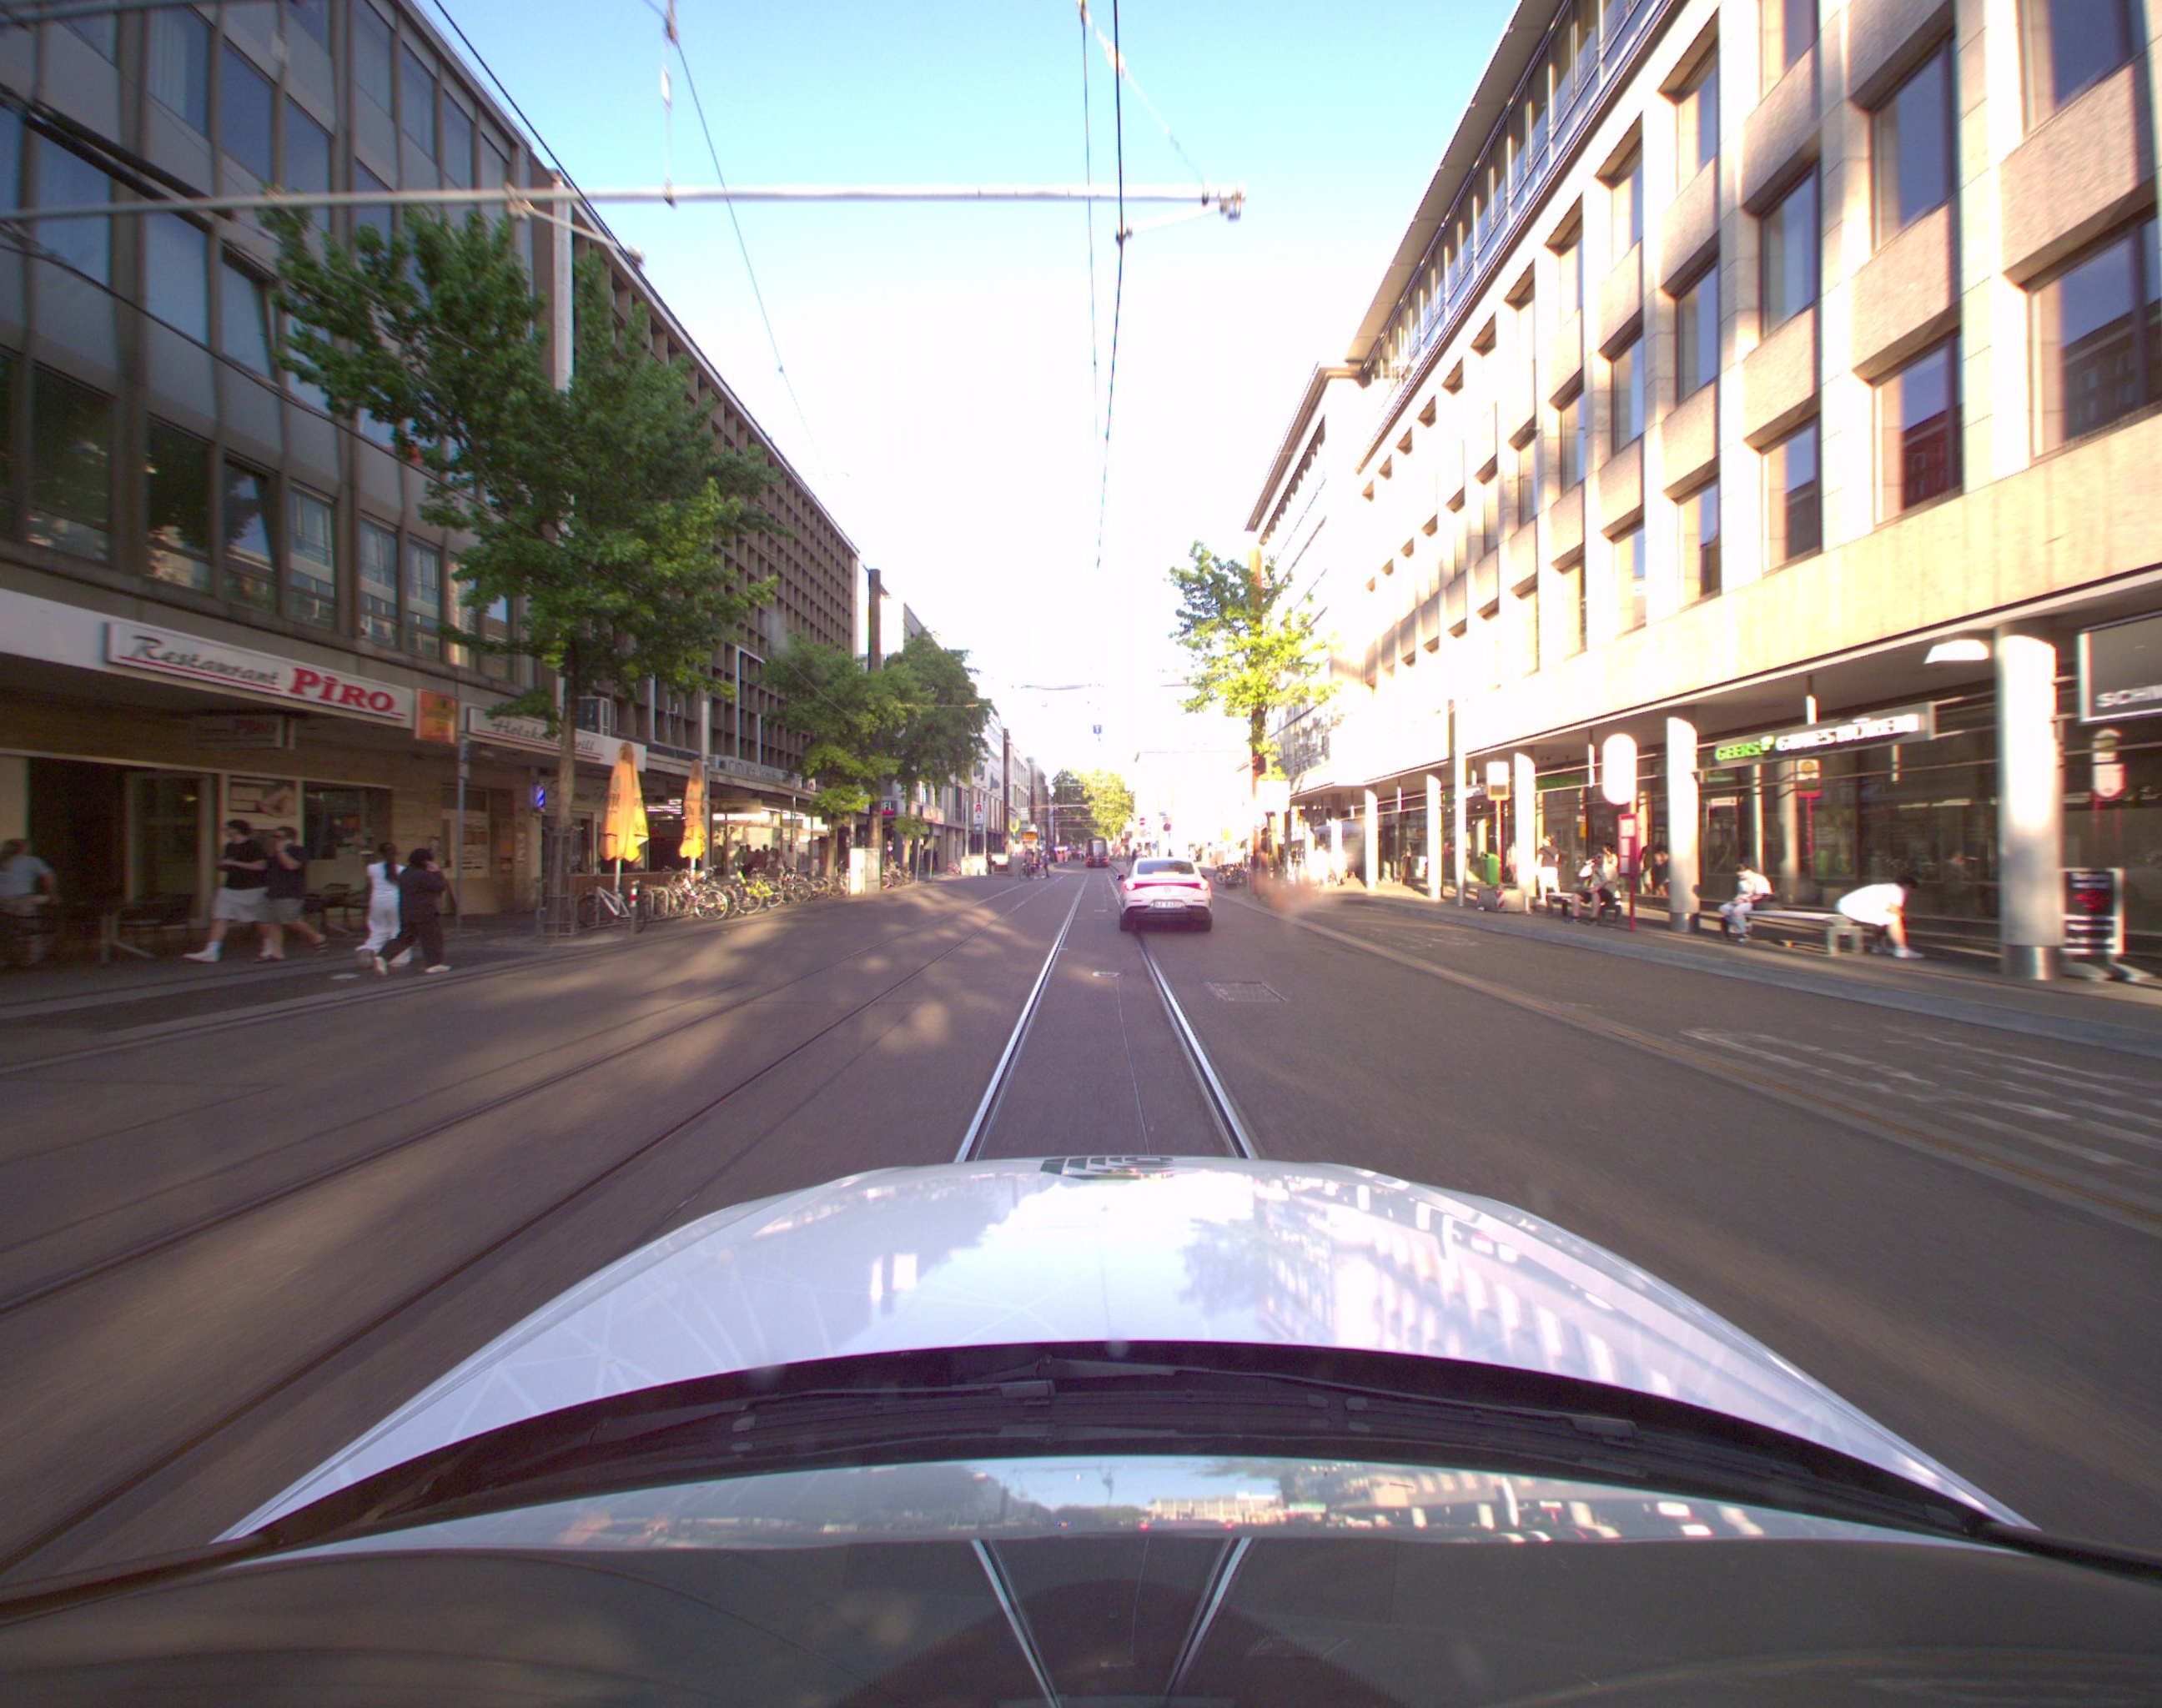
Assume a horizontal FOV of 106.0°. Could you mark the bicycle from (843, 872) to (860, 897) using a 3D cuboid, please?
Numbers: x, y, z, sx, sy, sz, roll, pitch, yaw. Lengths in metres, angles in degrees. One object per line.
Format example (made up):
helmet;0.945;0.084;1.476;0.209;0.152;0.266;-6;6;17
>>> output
bicycle;-7.825;1.021;27.796;0.343;0.783;1.402;1;0;-6

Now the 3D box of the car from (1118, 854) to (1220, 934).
car;1.739;0.748;17.242;1.850;1.455;4.177;0;0;2

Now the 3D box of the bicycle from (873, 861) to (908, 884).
bicycle;-8.548;0.852;36.621;1.492;1.009;0.343;1;0;-9

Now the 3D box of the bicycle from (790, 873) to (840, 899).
bicycle;-8.552;1.034;26.231;1.487;0.783;0.345;1;0;2

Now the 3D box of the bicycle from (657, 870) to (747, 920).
bicycle;-8.439;0.900;18.144;1.785;1.077;0.377;1;0;-4

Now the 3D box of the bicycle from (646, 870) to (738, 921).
bicycle;-8.438;0.898;17.694;1.785;1.077;0.377;1;0;-4

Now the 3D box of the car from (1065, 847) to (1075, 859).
car;-2.212;-0.195;165.148;1.903;2.461;5.277;-1;0;2

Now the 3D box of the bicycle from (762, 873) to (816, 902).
bicycle;-8.802;1.005;24.532;1.487;0.841;0.345;1;0;2

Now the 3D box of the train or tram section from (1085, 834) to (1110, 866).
train or tram section;1.921;-0.429;95.845;2.685;3.516;12.548;-1;0;1

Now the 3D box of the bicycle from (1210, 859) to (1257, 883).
bicycle;7.157;0.802;38.209;2.114;1.096;0.607;0;-1;-11

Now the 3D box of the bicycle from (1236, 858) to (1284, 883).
bicycle;8.251;0.764;37.531;2.115;1.096;0.607;-1;0;-12

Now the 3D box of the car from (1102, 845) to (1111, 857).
car;6.078;-0.709;197.439;2.091;2.897;5.287;-1;0;2

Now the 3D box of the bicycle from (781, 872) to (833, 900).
bicycle;-8.594;1.009;25.563;1.487;0.841;0.345;1;0;2

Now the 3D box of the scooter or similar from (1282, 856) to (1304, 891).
scooter or similar;7.891;0.707;30.288;0.527;1.277;0.658;-2;0;-10

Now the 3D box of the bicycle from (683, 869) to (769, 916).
bicycle;-8.460;0.907;19.420;1.842;1.077;0.377;1;0;-4

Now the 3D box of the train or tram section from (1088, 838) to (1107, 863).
train or tram section;2.472;-0.490;120.239;2.685;3.516;11.145;-1;0;1

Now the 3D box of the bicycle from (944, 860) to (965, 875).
bicycle;-9.067;0.972;58.265;0.713;1.010;2.047;-1;0;15

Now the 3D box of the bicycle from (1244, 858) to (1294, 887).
bicycle;7.930;0.767;34.387;1.908;1.156;0.607;-2;0;-11

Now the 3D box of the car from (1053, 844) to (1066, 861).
car;-3.918;-0.317;146.318;1.986;2.897;5.277;-1;0;2

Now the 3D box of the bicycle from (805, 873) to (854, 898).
bicycle;-8.281;1.025;26.846;1.487;0.783;0.345;1;0;2

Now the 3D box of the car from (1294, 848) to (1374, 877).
car;13.746;0.441;44.335;3.794;1.473;1.647;-1;0;-4

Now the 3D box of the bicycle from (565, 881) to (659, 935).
bicycle;-8.629;0.983;14.991;1.587;0.930;0.378;1;0;7

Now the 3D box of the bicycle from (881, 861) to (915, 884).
bicycle;-8.407;0.843;37.433;1.492;1.029;0.343;1;0;-9

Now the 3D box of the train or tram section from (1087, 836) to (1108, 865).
train or tram section;2.208;-0.463;108.398;2.685;3.516;12.548;-1;0;1

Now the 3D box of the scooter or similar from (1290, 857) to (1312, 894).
scooter or similar;8.011;0.776;29.669;0.491;1.277;0.658;-2;0;-10

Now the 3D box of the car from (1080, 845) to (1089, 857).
car;0.890;-0.690;197.172;2.091;2.897;5.276;-1;0;2

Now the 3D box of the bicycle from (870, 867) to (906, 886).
bicycle;-8.440;0.977;35.661;1.487;0.783;0.345;1;0;2

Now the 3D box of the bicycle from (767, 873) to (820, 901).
bicycle;-8.799;1.007;24.927;1.487;0.841;0.345;1;0;2

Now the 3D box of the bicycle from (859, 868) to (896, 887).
bicycle;-8.629;0.979;34.570;1.487;0.783;0.345;1;0;2

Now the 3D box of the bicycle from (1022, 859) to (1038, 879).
bicycle;-3.045;0.912;48.900;0.797;1.142;2.257;1;0;0

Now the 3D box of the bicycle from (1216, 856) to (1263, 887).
bicycle;6.852;0.752;35.227;1.908;1.281;0.607;-2;0;-11

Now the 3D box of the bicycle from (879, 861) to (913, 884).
bicycle;-8.405;0.843;37.059;1.492;1.029;0.343;1;0;-9

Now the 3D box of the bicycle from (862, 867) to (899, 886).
bicycle;-8.612;0.978;34.930;1.487;0.783;0.345;1;0;2

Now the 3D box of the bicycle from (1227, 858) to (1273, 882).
bicycle;8.229;0.785;39.730;2.114;1.096;0.607;-1;0;-11

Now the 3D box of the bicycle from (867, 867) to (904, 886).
bicycle;-8.481;0.984;35.292;1.487;0.783;0.345;1;0;2

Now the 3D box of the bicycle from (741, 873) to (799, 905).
bicycle;-8.855;0.998;23.222;1.490;0.876;0.344;1;0;-5

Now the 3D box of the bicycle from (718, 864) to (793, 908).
bicycle;-8.753;0.848;21.910;1.839;1.141;0.377;1;0;2

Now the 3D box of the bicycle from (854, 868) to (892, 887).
bicycle;-8.653;0.978;33.856;1.487;0.783;0.345;1;0;2

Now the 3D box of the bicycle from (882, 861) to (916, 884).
bicycle;-8.445;0.846;37.806;1.492;1.029;0.343;1;0;-9

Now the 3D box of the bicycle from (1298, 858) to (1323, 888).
bicycle;9.207;0.728;32.675;0.562;1.127;1.932;-2;0;4

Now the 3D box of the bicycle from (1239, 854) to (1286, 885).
bicycle;8.044;0.683;36.121;1.908;1.281;0.607;-2;0;-11

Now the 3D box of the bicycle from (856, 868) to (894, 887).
bicycle;-8.642;0.979;34.211;1.487;0.783;0.345;1;0;2
